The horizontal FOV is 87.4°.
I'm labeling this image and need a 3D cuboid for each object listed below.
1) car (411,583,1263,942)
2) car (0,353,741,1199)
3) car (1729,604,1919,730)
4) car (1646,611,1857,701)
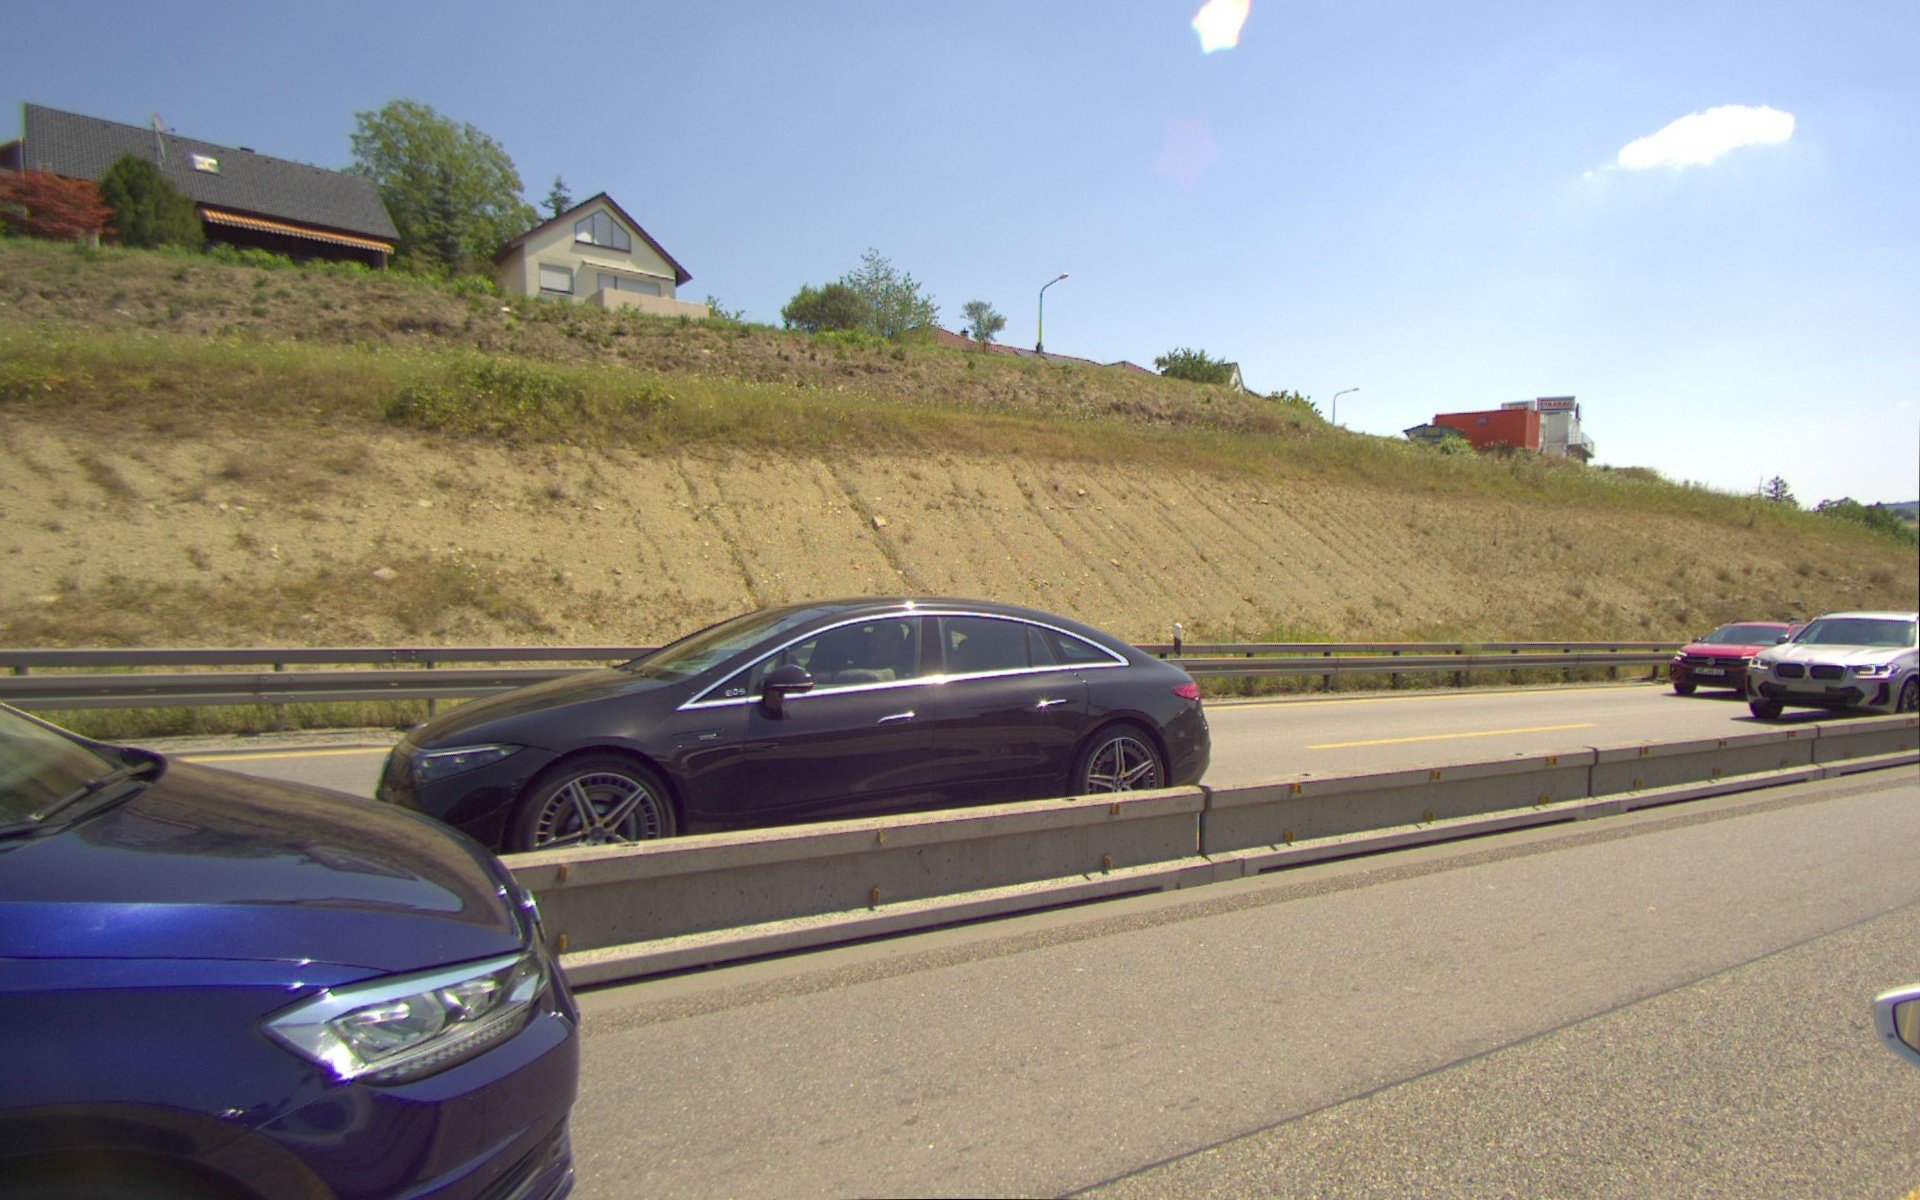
[{"bbox_3d":[-0.595,0.724,6.387,5.031,1.519,1.945,1,0,-31],"label":"car"},{"bbox_3d":[-2.816,0.534,1.433,4.597,1.741,1.767,0,1,-31],"label":"car"},{"bbox_3d":[14.120,0.959,15.610,4.634,1.688,1.836,1,0,-31],"label":"car"},{"bbox_3d":[16.176,1.080,20.451,5.067,1.606,1.676,1,0,-31],"label":"car"}]
